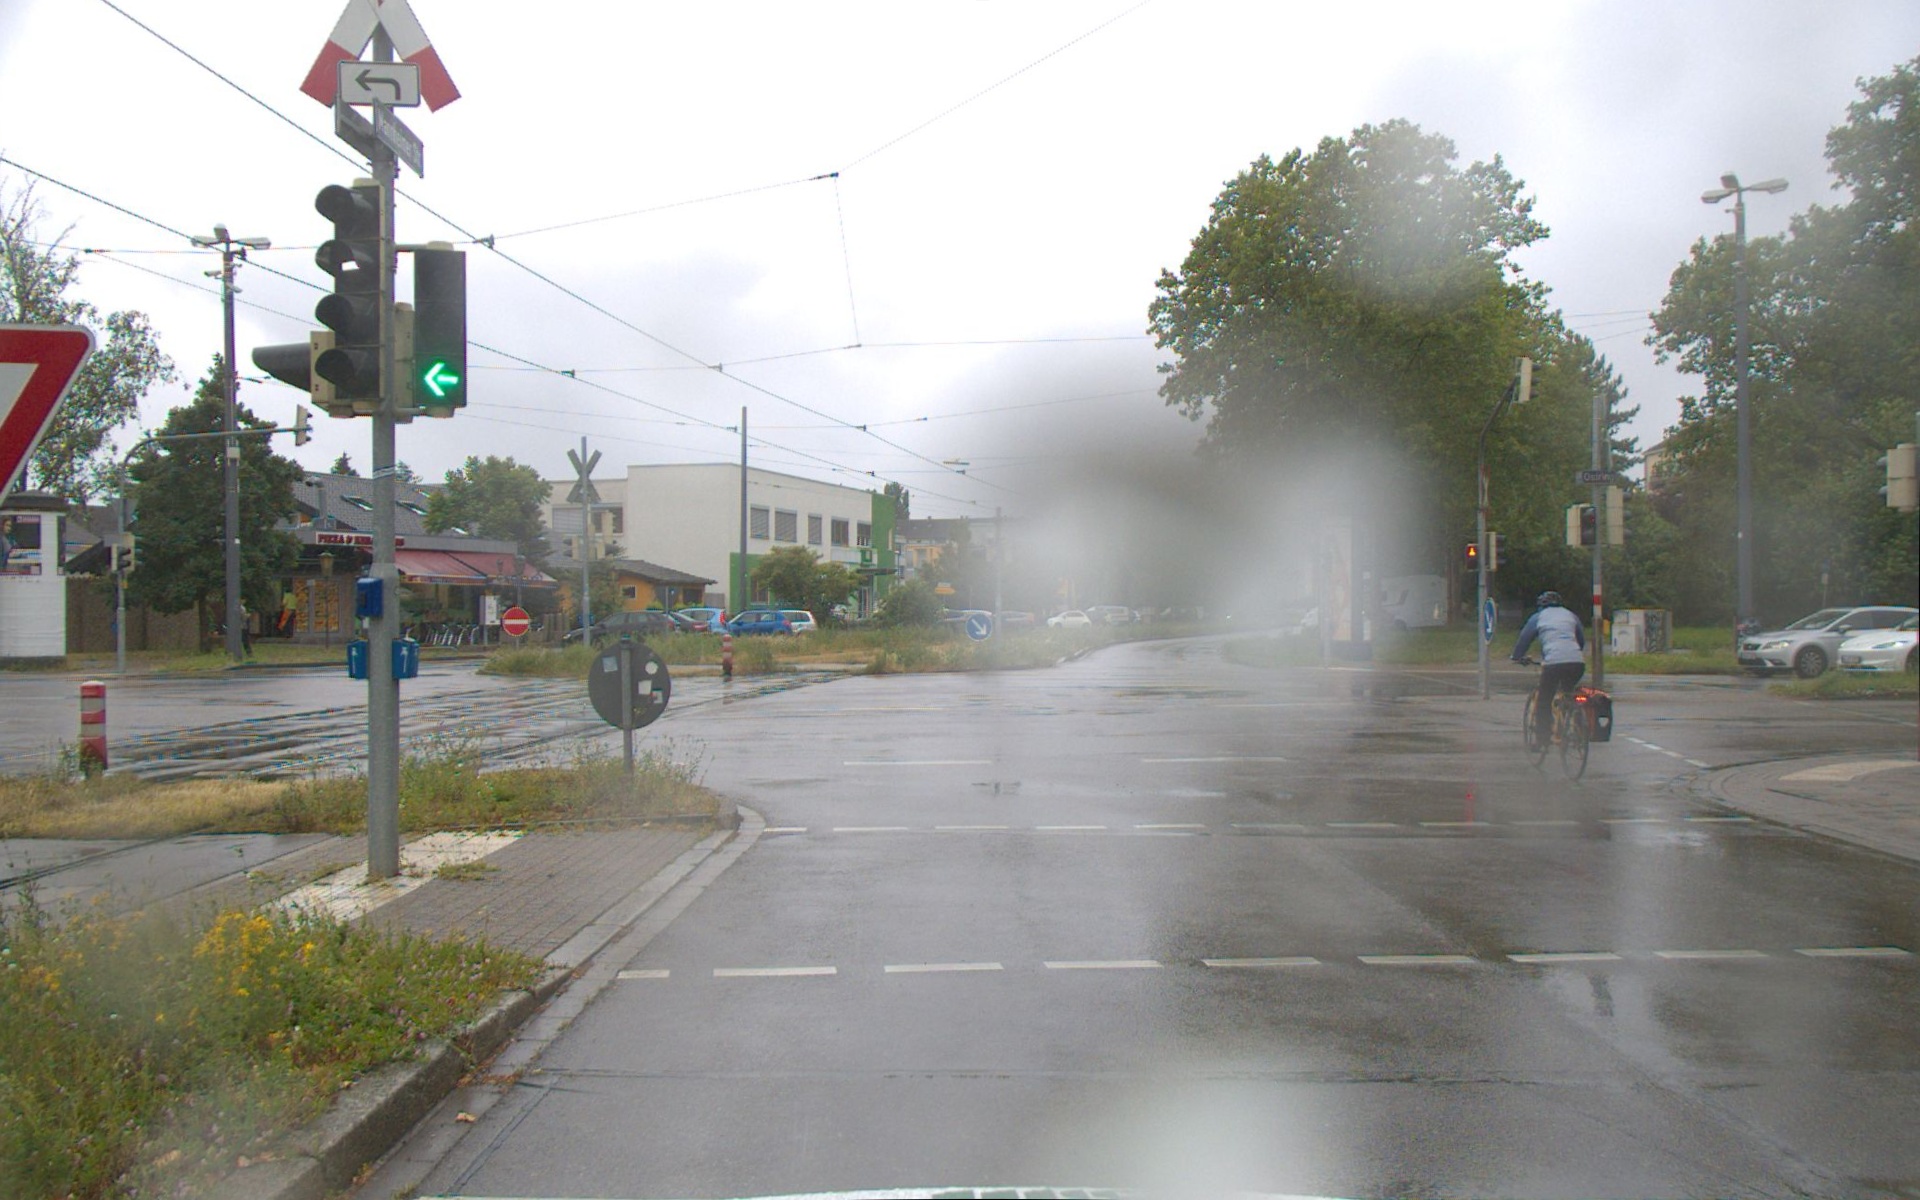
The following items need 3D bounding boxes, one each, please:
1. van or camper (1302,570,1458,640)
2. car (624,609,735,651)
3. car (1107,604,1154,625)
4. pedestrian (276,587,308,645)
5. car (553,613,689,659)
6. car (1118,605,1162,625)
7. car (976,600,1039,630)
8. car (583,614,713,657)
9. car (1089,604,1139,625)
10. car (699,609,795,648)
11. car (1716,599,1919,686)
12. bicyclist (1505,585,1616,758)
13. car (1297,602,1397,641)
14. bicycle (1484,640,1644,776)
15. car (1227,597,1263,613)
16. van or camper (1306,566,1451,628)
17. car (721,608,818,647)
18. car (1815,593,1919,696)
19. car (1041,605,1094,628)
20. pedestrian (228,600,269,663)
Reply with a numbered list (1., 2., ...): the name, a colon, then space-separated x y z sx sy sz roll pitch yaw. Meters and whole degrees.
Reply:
1. van or camper: 20.522 0.252 80.714 7.168 3.234 3.264 1 -1 17
2. car: -10.907 1.151 64.467 3.903 1.609 1.859 0 -1 4
3. car: 15.859 1.374 154.023 3.916 1.864 1.994 1 -1 -12
4. pedestrian: -23.766 0.574 58.846 0.708 2.049 0.795 1 -1 11
5. car: -11.994 1.259 58.736 4.385 1.443 1.858 -2 -1 0
6. car: 17.331 1.443 159.114 3.909 1.864 1.998 1 -1 -5
7. car: 3.123 0.996 110.125 3.911 1.920 1.997 1 -1 -7
8. car: -11.483 1.290 61.108 4.405 1.443 1.858 -2 -1 0
9. car: 13.502 1.293 145.024 3.916 1.789 2.004 1 -1 -12
10. car: -8.979 1.189 69.591 3.916 1.609 1.924 0 -1 -12
11. car: 18.395 0.890 34.625 4.309 1.721 1.931 1 -1 -7
12. bicyclist: 5.469 0.641 15.102 0.677 1.532 0.843 1 -1 -3
13. car: 18.190 1.008 77.802 4.352 1.747 2.000 1 -1 21
14. bicycle: 5.469 0.947 15.088 0.677 1.136 1.884 1 -1 -3
15. car: 34.266 0.614 199.159 3.909 1.864 1.998 1 -1 -5
16. van or camper: 22.732 -0.163 89.868 7.274 3.234 3.262 1 -1 22
17. car: -8.375 1.202 72.717 4.040 1.670 1.922 0 -1 -15
18. car: 18.862 0.849 31.254 4.506 1.860 1.931 1 -1 -7
19. car: 8.246 1.250 126.829 3.706 1.732 1.832 1 -1 -11
20. pedestrian: -21.128 0.922 49.116 0.709 1.829 0.887 2 0 7
